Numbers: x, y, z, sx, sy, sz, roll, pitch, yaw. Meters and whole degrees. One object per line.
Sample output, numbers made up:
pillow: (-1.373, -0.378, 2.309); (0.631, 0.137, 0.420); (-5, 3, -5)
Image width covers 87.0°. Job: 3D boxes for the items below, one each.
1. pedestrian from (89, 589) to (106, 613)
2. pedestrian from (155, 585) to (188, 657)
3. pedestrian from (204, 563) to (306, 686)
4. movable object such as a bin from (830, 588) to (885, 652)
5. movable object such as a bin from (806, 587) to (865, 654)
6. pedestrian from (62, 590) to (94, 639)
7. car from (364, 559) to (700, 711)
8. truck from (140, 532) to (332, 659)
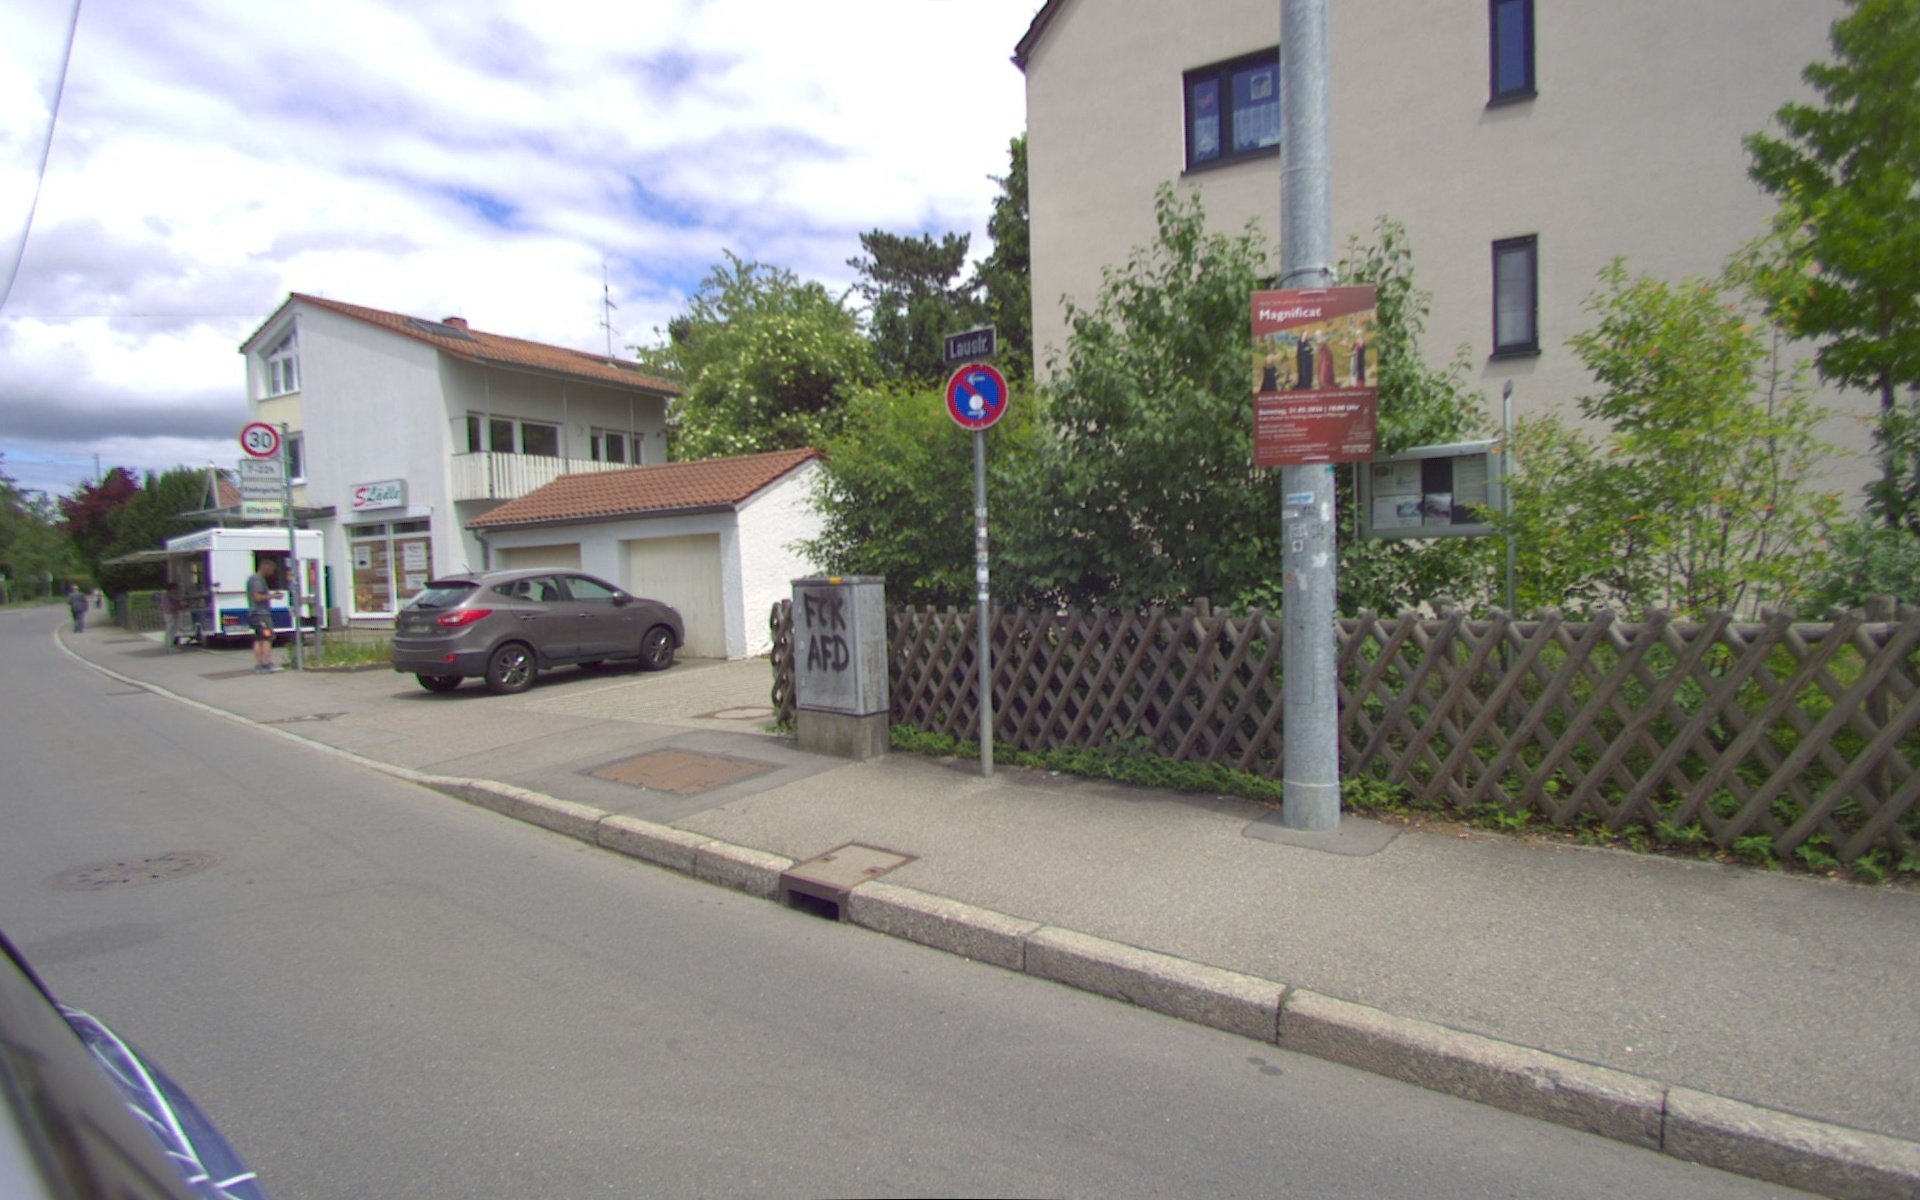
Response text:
pedestrian: (-65.959, 0.073, 77.419); (0.809, 1.757, 0.605); (-6, 4, -38)
pedestrian: (-19.235, 0.512, 24.688); (0.597, 1.707, 0.397); (0, 4, 41)
pedestrian: (-12.062, 0.386, 17.328); (1.200, 1.960, 0.736); (-6, 5, -44)
movable object such as a bin: (-1.857, 0.365, 18.410); (0.689, 1.091, 0.682); (-1, 4, 29)
movable object such as a bin: (-2.188, 0.355, 17.794); (0.701, 1.091, 0.682); (-1, 4, 29)
pedestrian: (-33.052, 0.542, 37.929); (0.714, 1.698, 1.110); (-6, 8, -43)
car: (-6.135, 0.387, 15.049); (1.792, 1.708, 4.281); (-1, 4, 31)
truck: (-18.735, -0.151, 26.012); (6.705, 2.861, 2.447); (0, 3, 41)
